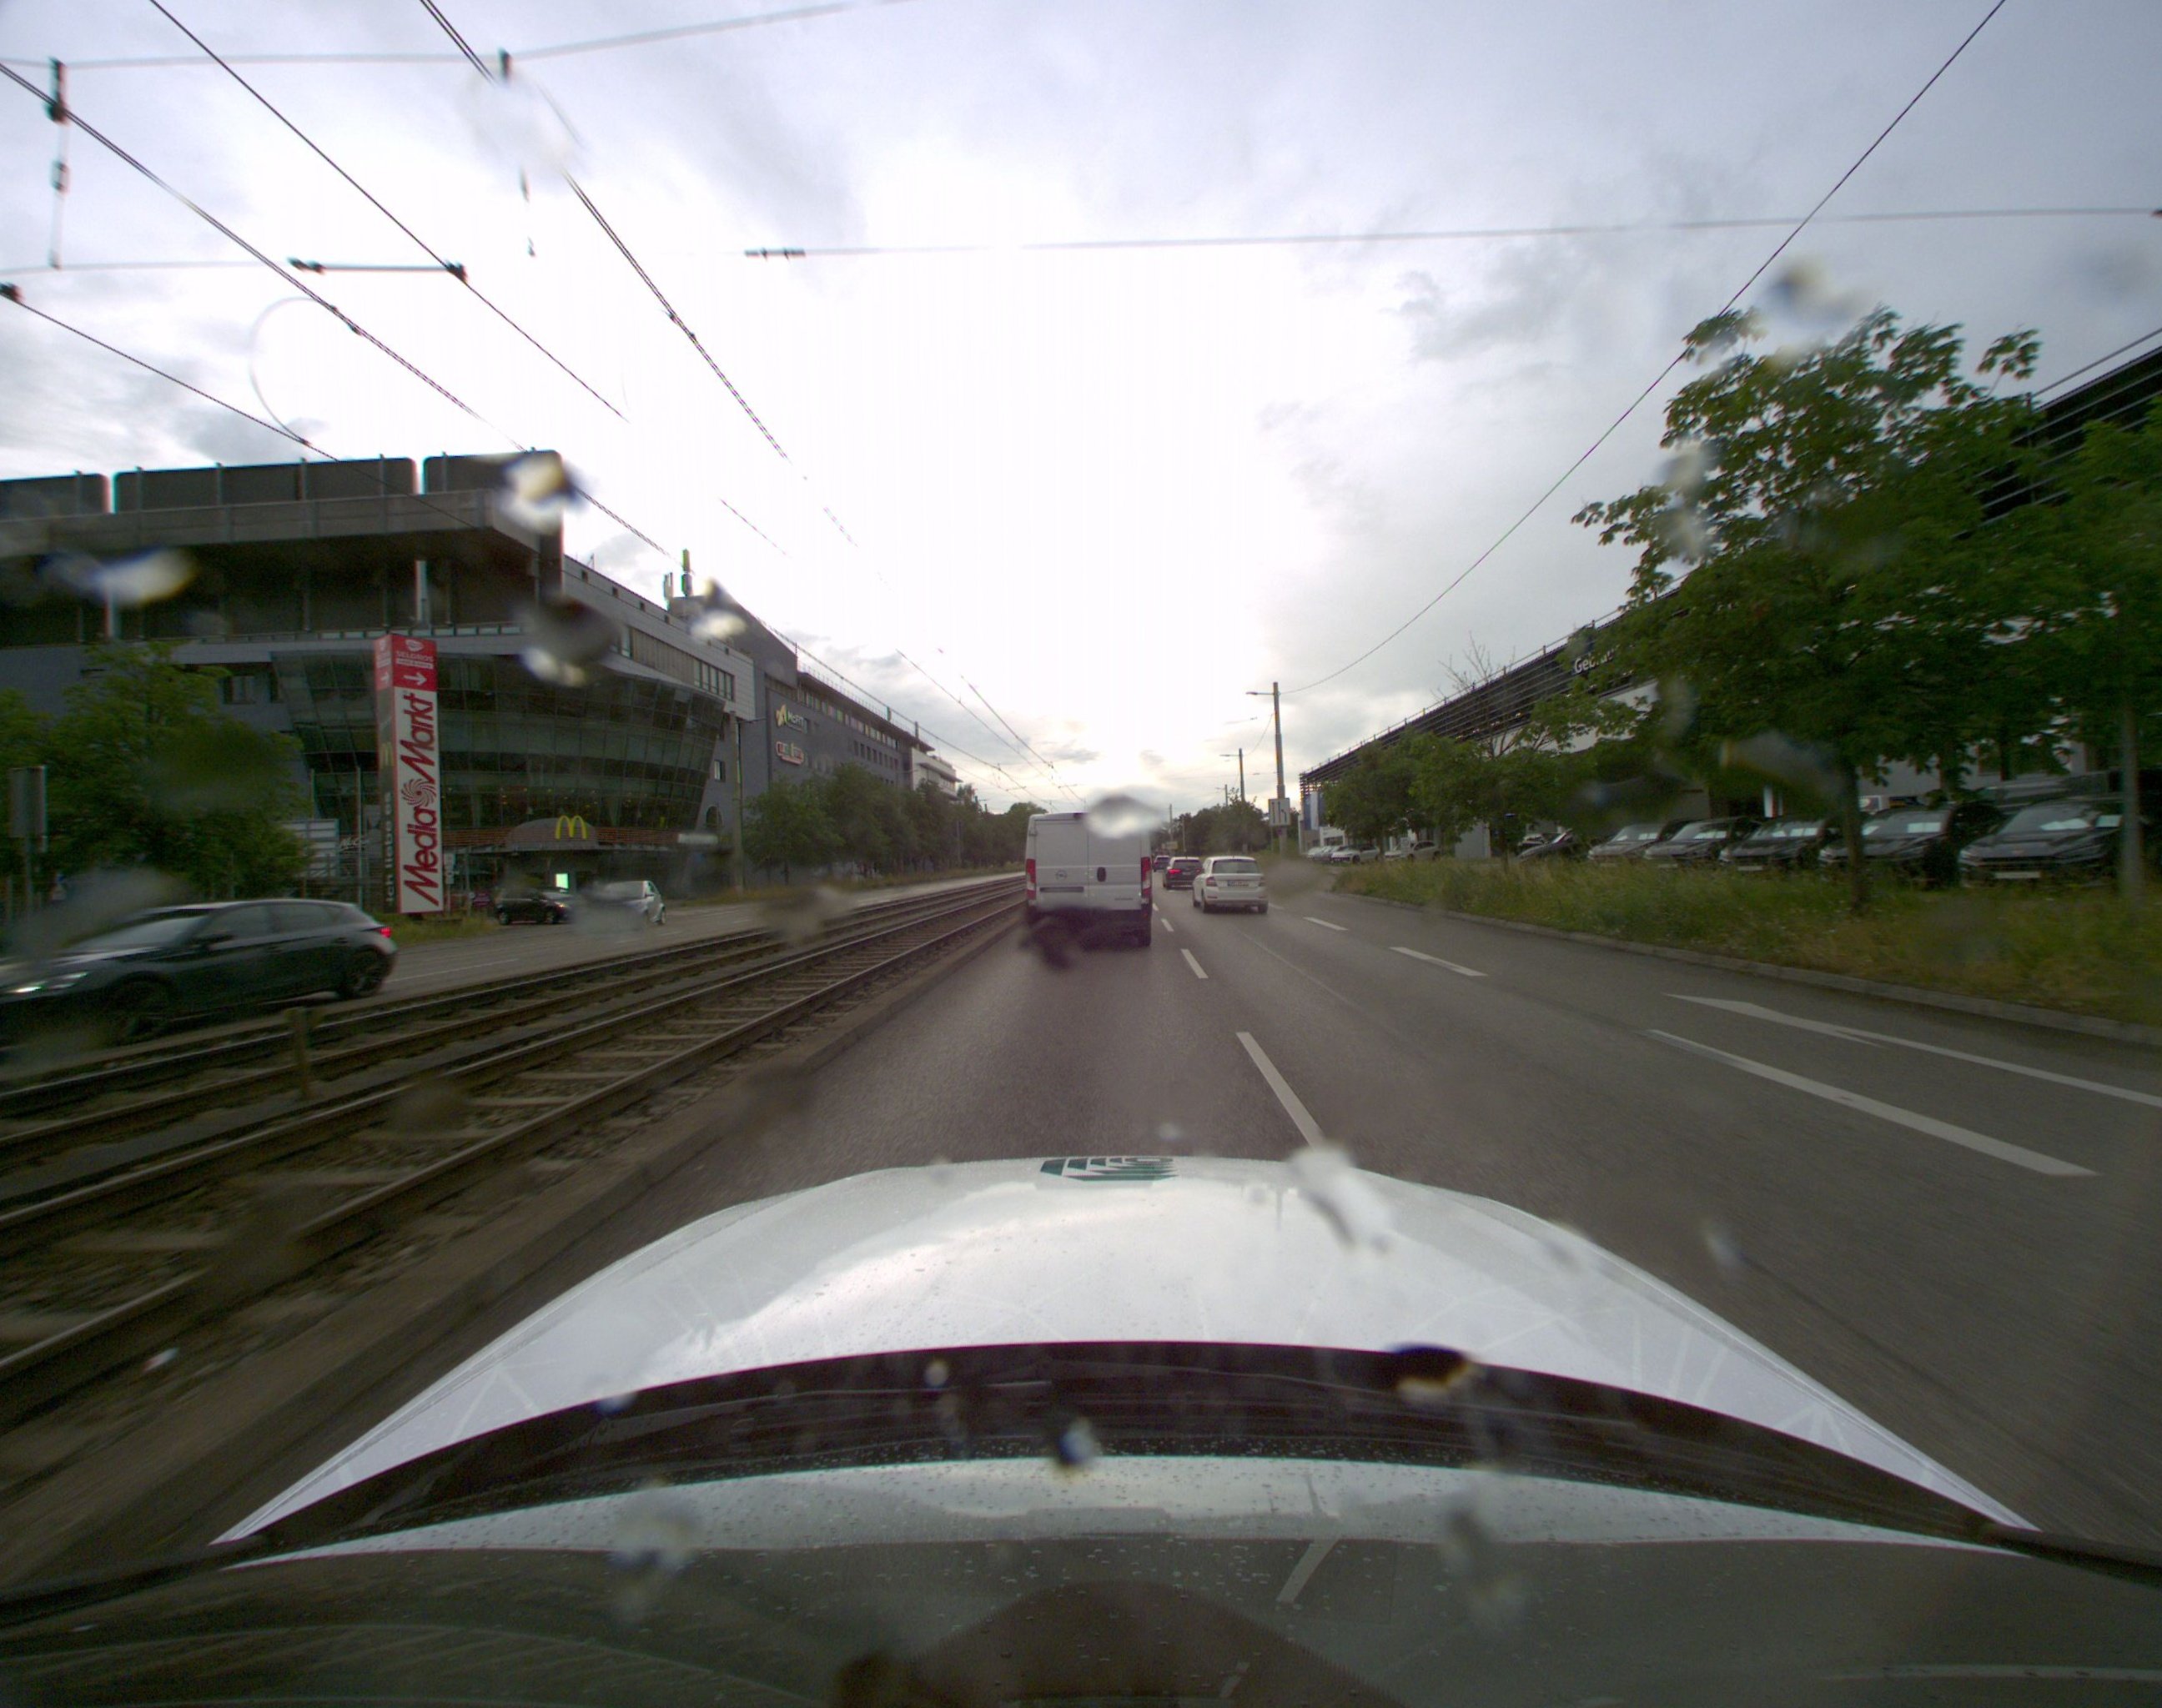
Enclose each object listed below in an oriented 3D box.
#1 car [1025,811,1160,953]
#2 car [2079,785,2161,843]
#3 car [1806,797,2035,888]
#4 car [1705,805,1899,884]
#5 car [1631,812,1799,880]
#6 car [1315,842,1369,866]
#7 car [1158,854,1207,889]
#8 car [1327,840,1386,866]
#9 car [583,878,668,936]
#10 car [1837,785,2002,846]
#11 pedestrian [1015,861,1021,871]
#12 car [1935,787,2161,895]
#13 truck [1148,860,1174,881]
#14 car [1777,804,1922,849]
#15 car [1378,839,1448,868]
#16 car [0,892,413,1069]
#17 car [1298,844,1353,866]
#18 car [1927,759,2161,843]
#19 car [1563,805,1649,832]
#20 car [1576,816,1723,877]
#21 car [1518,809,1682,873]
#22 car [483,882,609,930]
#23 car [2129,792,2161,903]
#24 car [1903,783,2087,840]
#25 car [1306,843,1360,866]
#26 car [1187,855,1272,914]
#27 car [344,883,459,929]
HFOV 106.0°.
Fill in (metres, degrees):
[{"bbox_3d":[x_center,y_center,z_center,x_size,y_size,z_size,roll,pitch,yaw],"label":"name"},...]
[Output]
[{"bbox_3d":[0.294,0.440,15.256,2.082,2.196,5.064,-1,0,3],"label":"car"},{"bbox_3d":[31.005,-1.175,22.781,4.018,1.513,1.724,-3,-1,0],"label":"car"},{"bbox_3d":[17.293,-0.240,16.782,4.156,1.569,1.813,-4,-1,-22],"label":"car"},{"bbox_3d":[17.418,-0.225,19.681,4.156,1.604,1.813,-4,-1,-22],"label":"car"},{"bbox_3d":[17.565,-0.226,22.562,4.158,1.562,1.855,-4,-1,-24],"label":"car"},{"bbox_3d":[20.128,0.016,62.687,4.210,1.569,1.779,-3,-2,-38],"label":"car"},{"bbox_3d":[4.507,0.758,36.503,1.783,1.449,4.001,-1,-1,1],"label":"car"},{"bbox_3d":[19.868,-0.094,58.654,4.116,1.569,1.780,-3,-2,-34],"label":"car"},{"bbox_3d":[-14.339,1.623,25.796,1.601,1.537,2.935,-4,0,-16],"label":"car"},{"bbox_3d":[31.063,-1.384,30.266,4.011,1.976,1.945,-3,-1,2],"label":"car"},{"bbox_3d":[-13.252,2.550,171.251,0.880,2.014,0.869,-2,-1,14],"label":"pedestrian"},{"bbox_3d":[17.169,-0.266,14.008,4.154,1.569,1.896,-4,-1,-21],"label":"car"},{"bbox_3d":[7.368,1.529,75.654,1.987,1.790,4.414,-3,0,1],"label":"truck"},{"bbox_3d":[31.105,-1.089,33.055,3.972,1.537,1.906,-3,-1,2],"label":"car"},{"bbox_3d":[20.088,-0.061,49.241,4.113,1.465,1.731,-3,-2,-30],"label":"car"},{"bbox_3d":[-10.481,1.299,9.568,1.798,1.429,4.232,-3,0,-2],"label":"car"},{"bbox_3d":[20.940,0.084,69.681,4.365,1.626,1.840,-3,-2,-27],"label":"car"},{"bbox_3d":[26.294,-1.345,22.206,1.880,1.938,4.431,-3,0,2],"label":"car"},{"bbox_3d":[31.339,-2.084,48.718,3.968,1.508,1.788,0,-1,5],"label":"car"},{"bbox_3d":[17.779,-0.243,25.456,4.345,1.612,1.853,-4,-1,-27],"label":"car"},{"bbox_3d":[18.270,-0.446,28.957,4.662,1.876,1.836,-4,-1,26],"label":"car"},{"bbox_3d":[-22.645,2.181,34.508,4.171,1.736,2.006,-4,-1,11],"label":"car"},{"bbox_3d":[17.014,-0.233,11.191,4.150,1.528,1.820,-4,-1,-17],"label":"car"},{"bbox_3d":[30.874,-1.408,27.618,3.972,1.632,1.906,-3,-1,2],"label":"car"},{"bbox_3d":[20.538,0.057,66.360,4.205,1.569,1.781,-3,-2,-32],"label":"car"},{"bbox_3d":[3.919,0.764,22.066,1.740,1.457,3.672,0,0,1],"label":"car"},{"bbox_3d":[-34.512,2.617,41.444,3.979,2.013,1.997,-3,-1,-4],"label":"car"}]
